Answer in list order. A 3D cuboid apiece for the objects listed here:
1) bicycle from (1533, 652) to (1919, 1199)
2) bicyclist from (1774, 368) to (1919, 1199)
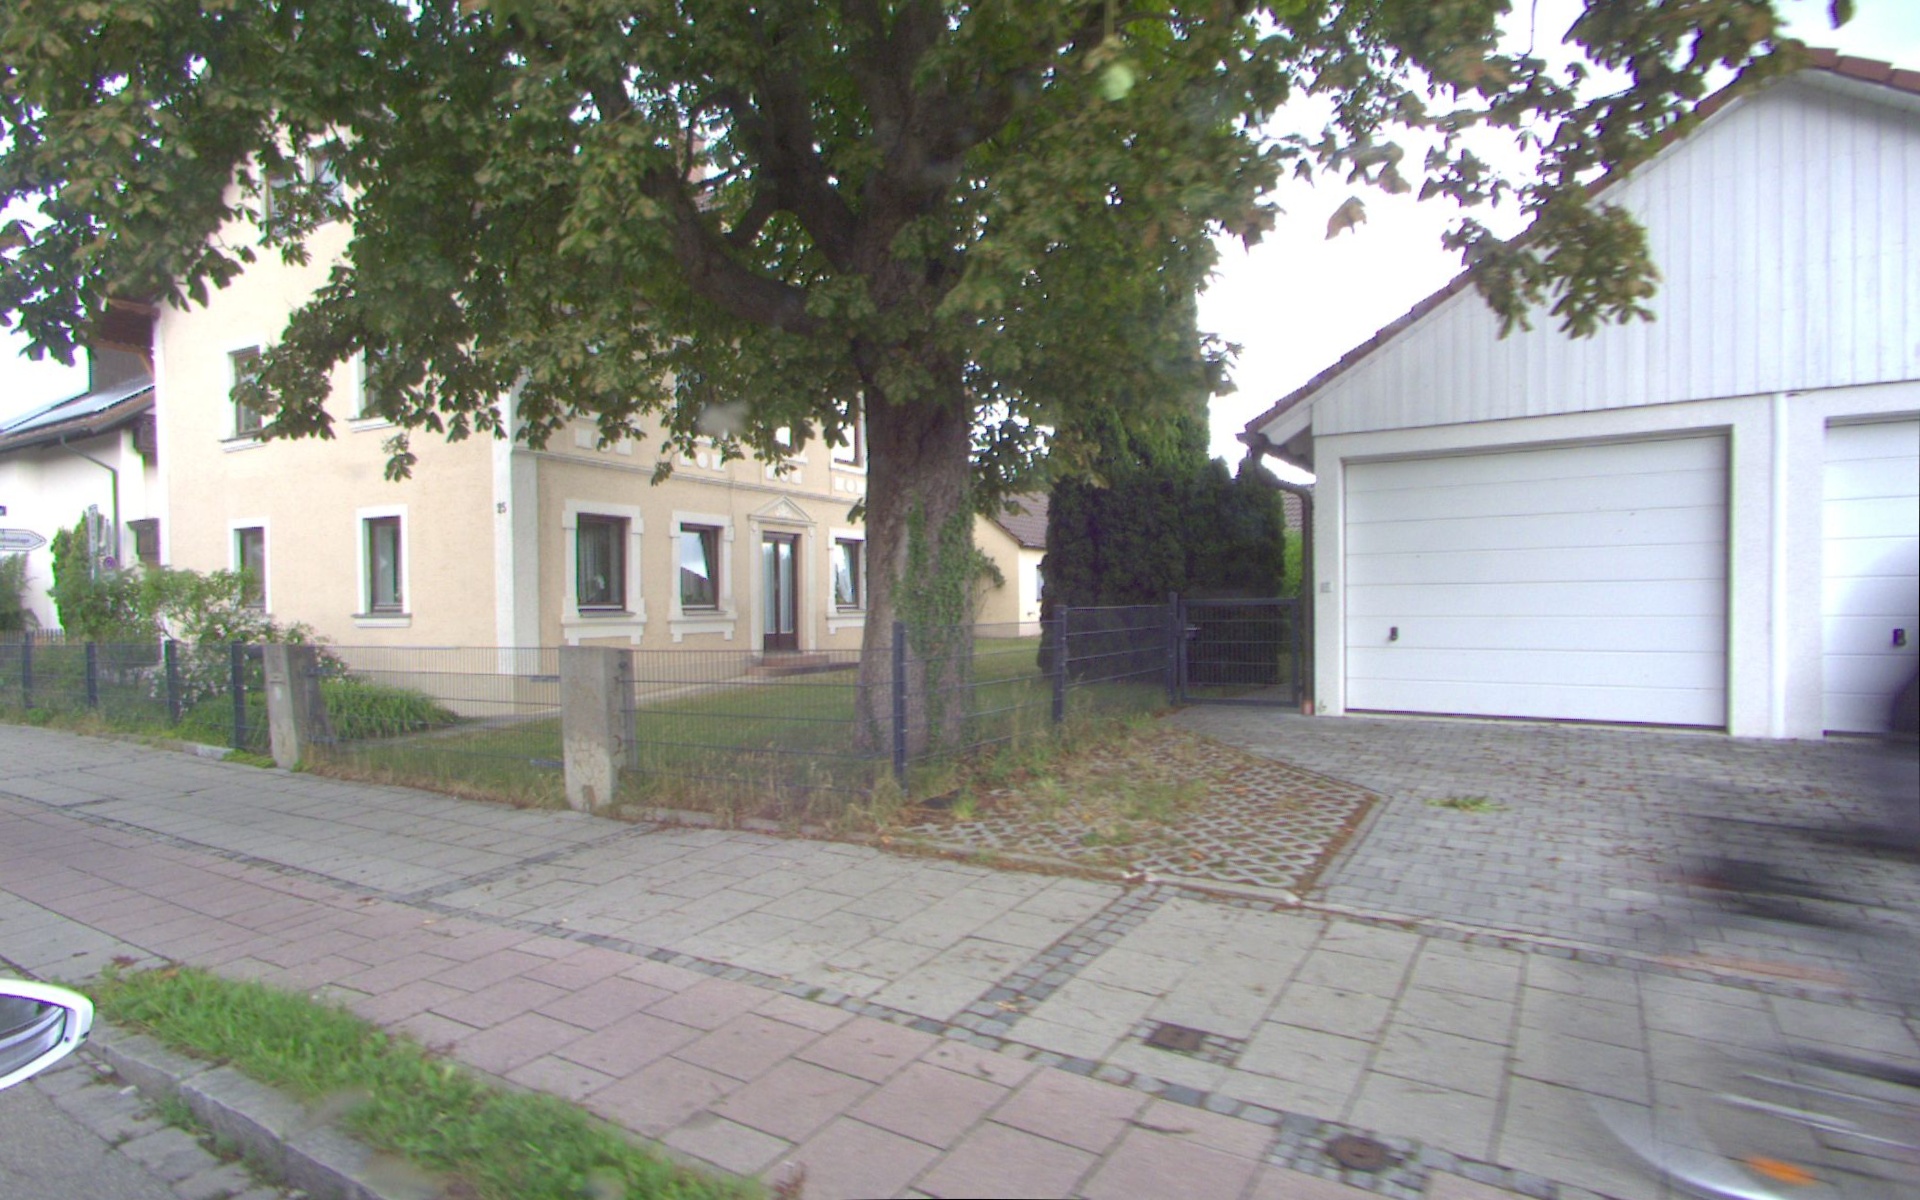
[{"bbox_3d":[2.190,0.756,1.895,1.819,1.158,0.762,3,2,34],"label":"bicycle"},{"bbox_3d":[2.205,0.440,1.887,0.878,1.655,0.734,5,3,35],"label":"bicyclist"}]
